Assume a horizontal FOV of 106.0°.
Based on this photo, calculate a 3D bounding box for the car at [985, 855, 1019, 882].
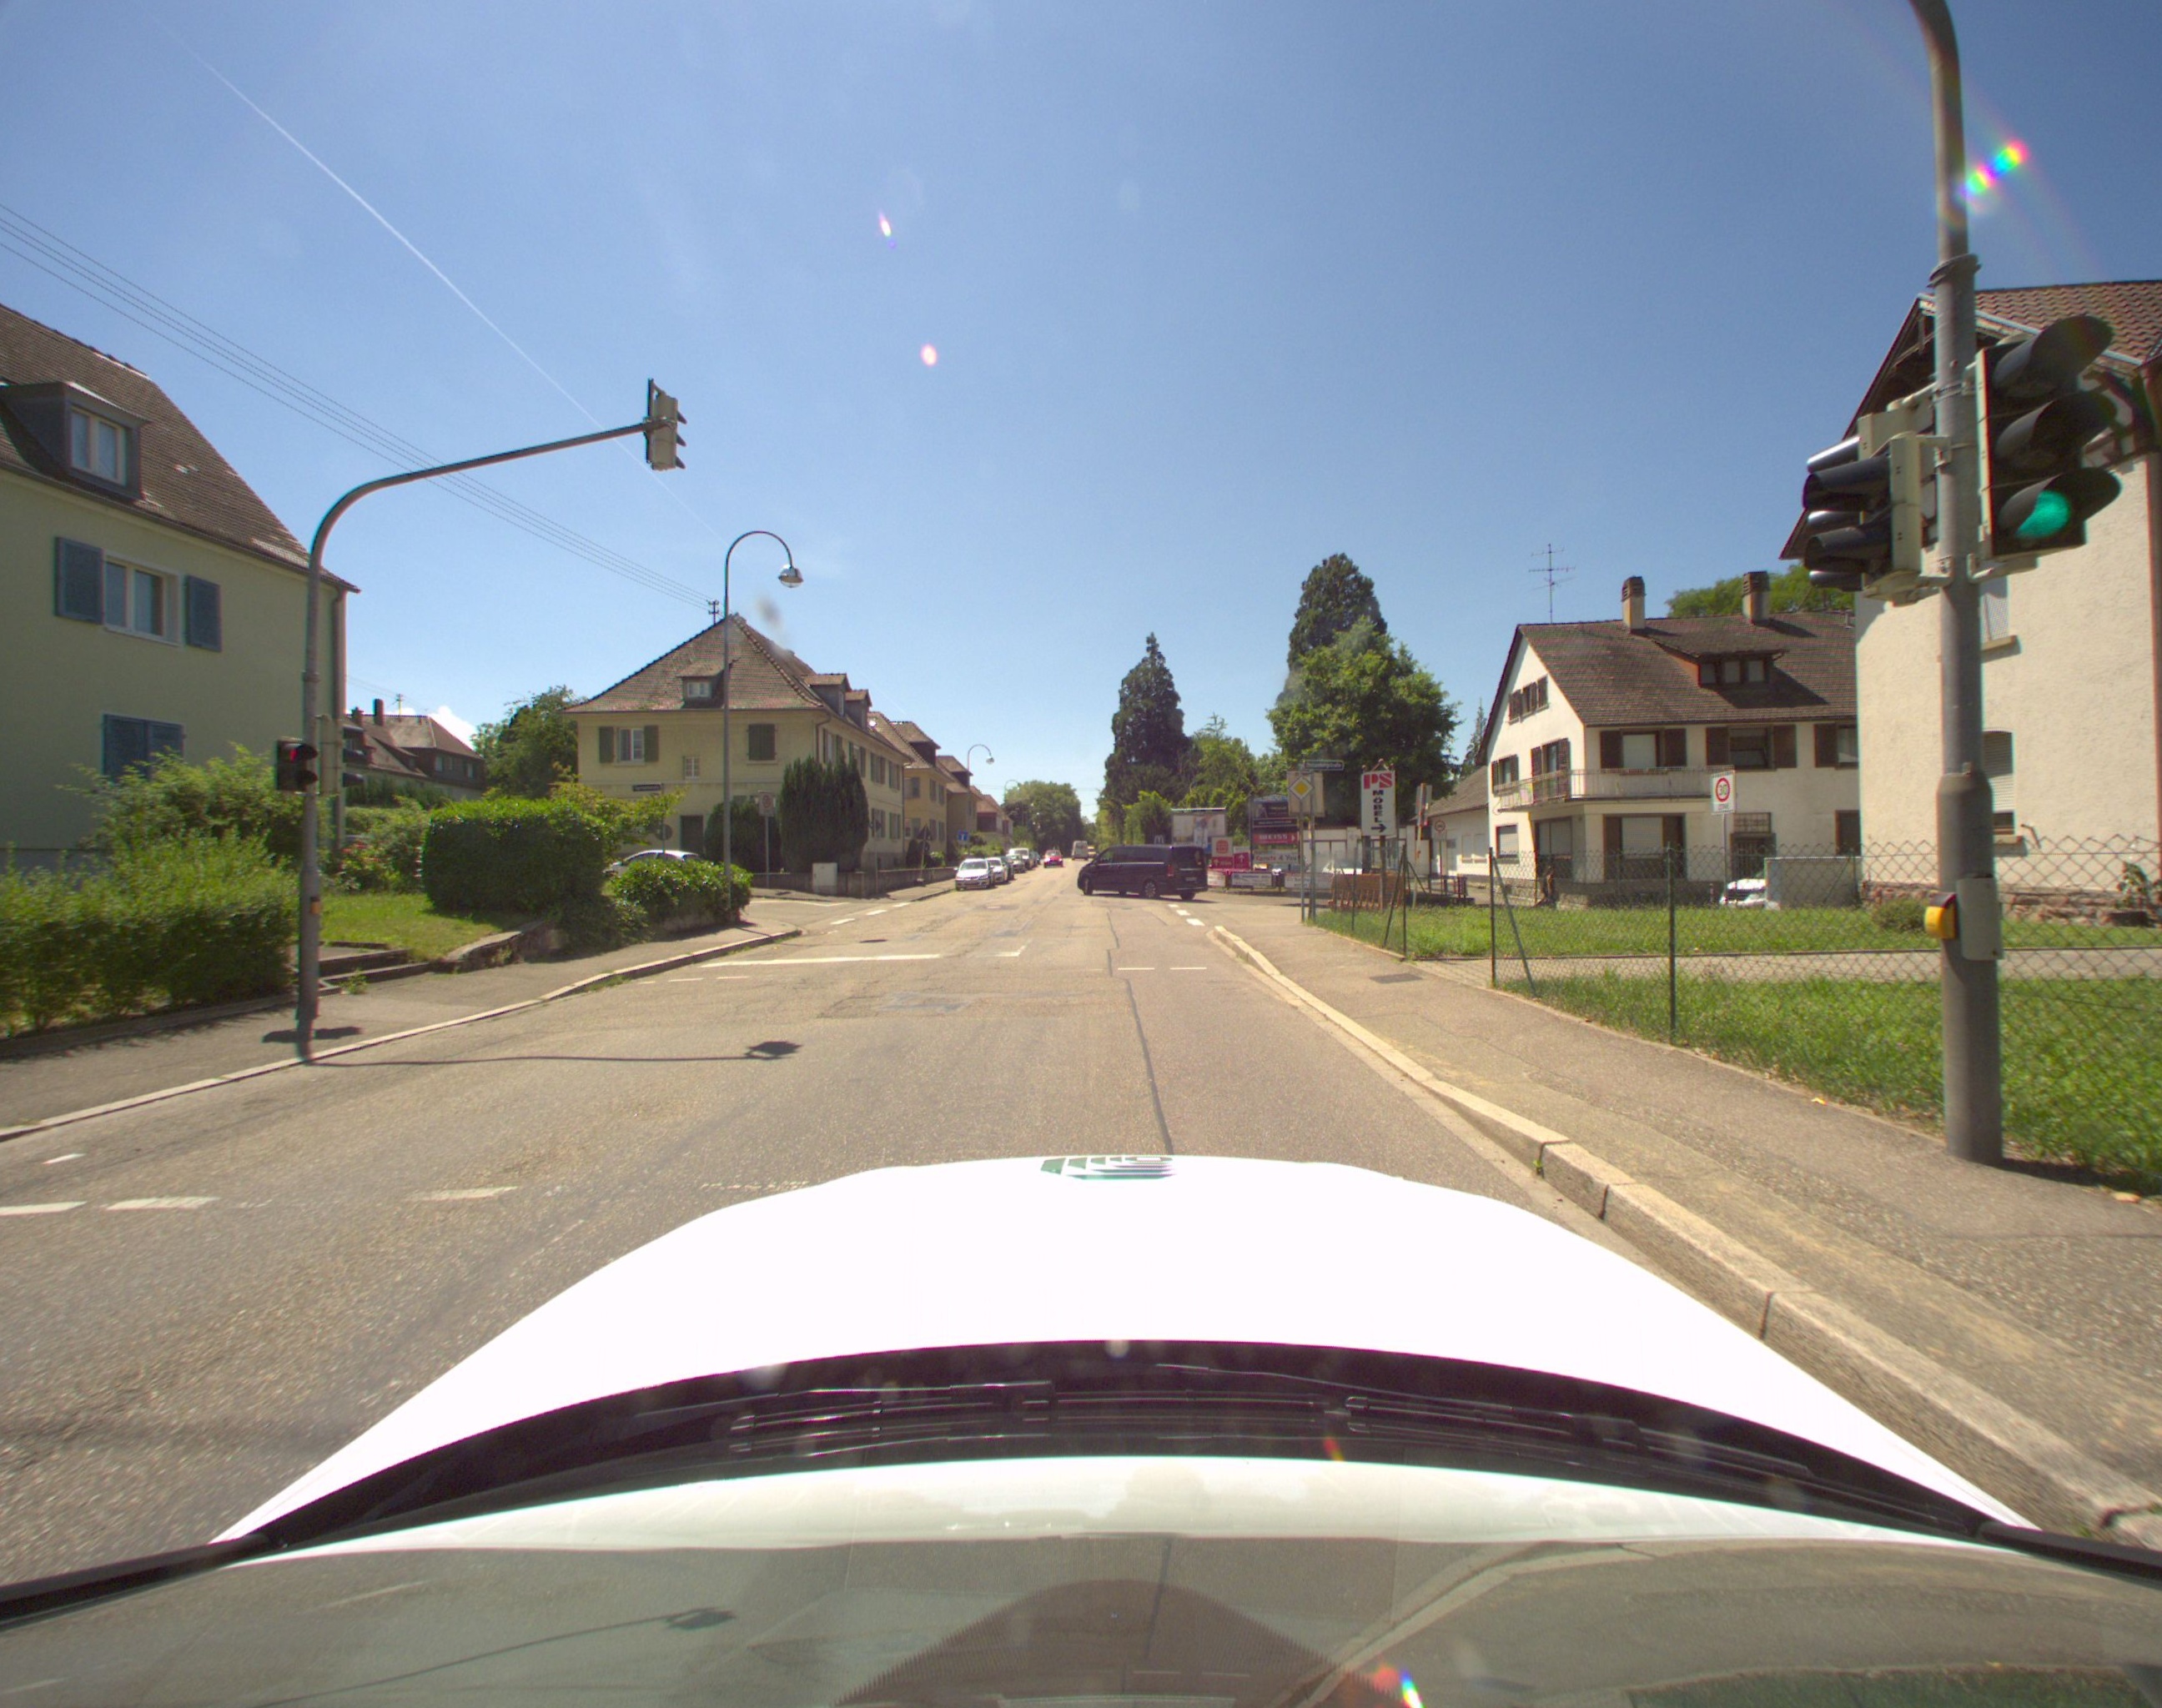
[{"bbox_3d":[-4.713,0.821,49.199,1.711,1.485,4.073,-3,0,-2],"label":"car"}]

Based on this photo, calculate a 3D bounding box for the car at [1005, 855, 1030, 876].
[{"bbox_3d":[-4.850,0.845,62.762,1.682,1.525,4.061,-1,0,-1],"label":"car"}]

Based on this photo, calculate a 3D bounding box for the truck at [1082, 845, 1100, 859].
[{"bbox_3d":[1.571,-0.299,131.968,2.351,2.258,6.083,-1,0,-4],"label":"truck"}]

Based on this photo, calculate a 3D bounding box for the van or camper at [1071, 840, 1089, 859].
[{"bbox_3d":[-0.146,-0.597,109.628,2.256,2.528,4.757,-2,0,-1],"label":"van or camper"}]

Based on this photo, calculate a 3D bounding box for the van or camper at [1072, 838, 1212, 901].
[{"bbox_3d":[2.024,0.501,28.708,1.918,2.013,5.209,0,0,-39],"label":"van or camper"}]

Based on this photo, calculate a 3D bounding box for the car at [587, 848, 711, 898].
[{"bbox_3d":[-14.580,0.640,27.569,3.185,1.456,1.738,3,-1,6],"label":"car"}]

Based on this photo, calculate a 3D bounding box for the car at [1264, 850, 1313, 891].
[{"bbox_3d":[9.026,0.674,35.688,1.701,1.665,4.472,1,0,9],"label":"car"}]

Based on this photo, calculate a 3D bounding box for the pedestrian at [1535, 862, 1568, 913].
[{"bbox_3d":[15.169,1.074,26.260,0.693,1.600,0.573,-2,0,0],"label":"pedestrian"}]

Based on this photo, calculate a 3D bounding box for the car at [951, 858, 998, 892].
[{"bbox_3d":[-5.038,0.967,39.056,1.754,1.447,3.922,-3,0,-1],"label":"car"}]

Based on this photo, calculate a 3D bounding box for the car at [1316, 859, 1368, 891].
[{"bbox_3d":[11.210,0.881,35.163,1.701,1.270,3.395,0,0,11],"label":"car"}]

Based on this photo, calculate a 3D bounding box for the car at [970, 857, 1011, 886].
[{"bbox_3d":[-4.828,0.898,43.950,1.789,1.402,4.216,-2,0,-1],"label":"car"}]

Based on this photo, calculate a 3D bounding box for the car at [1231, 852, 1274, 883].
[{"bbox_3d":[10.931,0.823,52.108,1.769,1.800,4.164,3,0,-1],"label":"car"}]

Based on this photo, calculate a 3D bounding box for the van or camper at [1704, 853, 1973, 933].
[{"bbox_3d":[20.896,1.040,22.702,5.314,1.979,2.005,1,-2,8],"label":"van or camper"}]

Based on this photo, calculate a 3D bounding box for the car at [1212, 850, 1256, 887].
[{"bbox_3d":[6.736,0.625,36.131,1.702,1.523,3.848,-1,0,8],"label":"car"}]

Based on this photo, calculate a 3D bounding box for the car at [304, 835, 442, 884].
[{"bbox_3d":[-24.553,0.197,28.311,3.190,1.456,1.736,3,-1,2],"label":"car"}]

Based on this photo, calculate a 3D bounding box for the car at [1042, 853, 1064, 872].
[{"bbox_3d":[-2.494,0.719,73.050,1.808,1.566,3.696,-2,0,0],"label":"car"}]

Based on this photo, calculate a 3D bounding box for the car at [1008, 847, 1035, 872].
[{"bbox_3d":[-5.038,0.450,69.712,1.872,1.963,4.624,-3,1,-1],"label":"car"}]
